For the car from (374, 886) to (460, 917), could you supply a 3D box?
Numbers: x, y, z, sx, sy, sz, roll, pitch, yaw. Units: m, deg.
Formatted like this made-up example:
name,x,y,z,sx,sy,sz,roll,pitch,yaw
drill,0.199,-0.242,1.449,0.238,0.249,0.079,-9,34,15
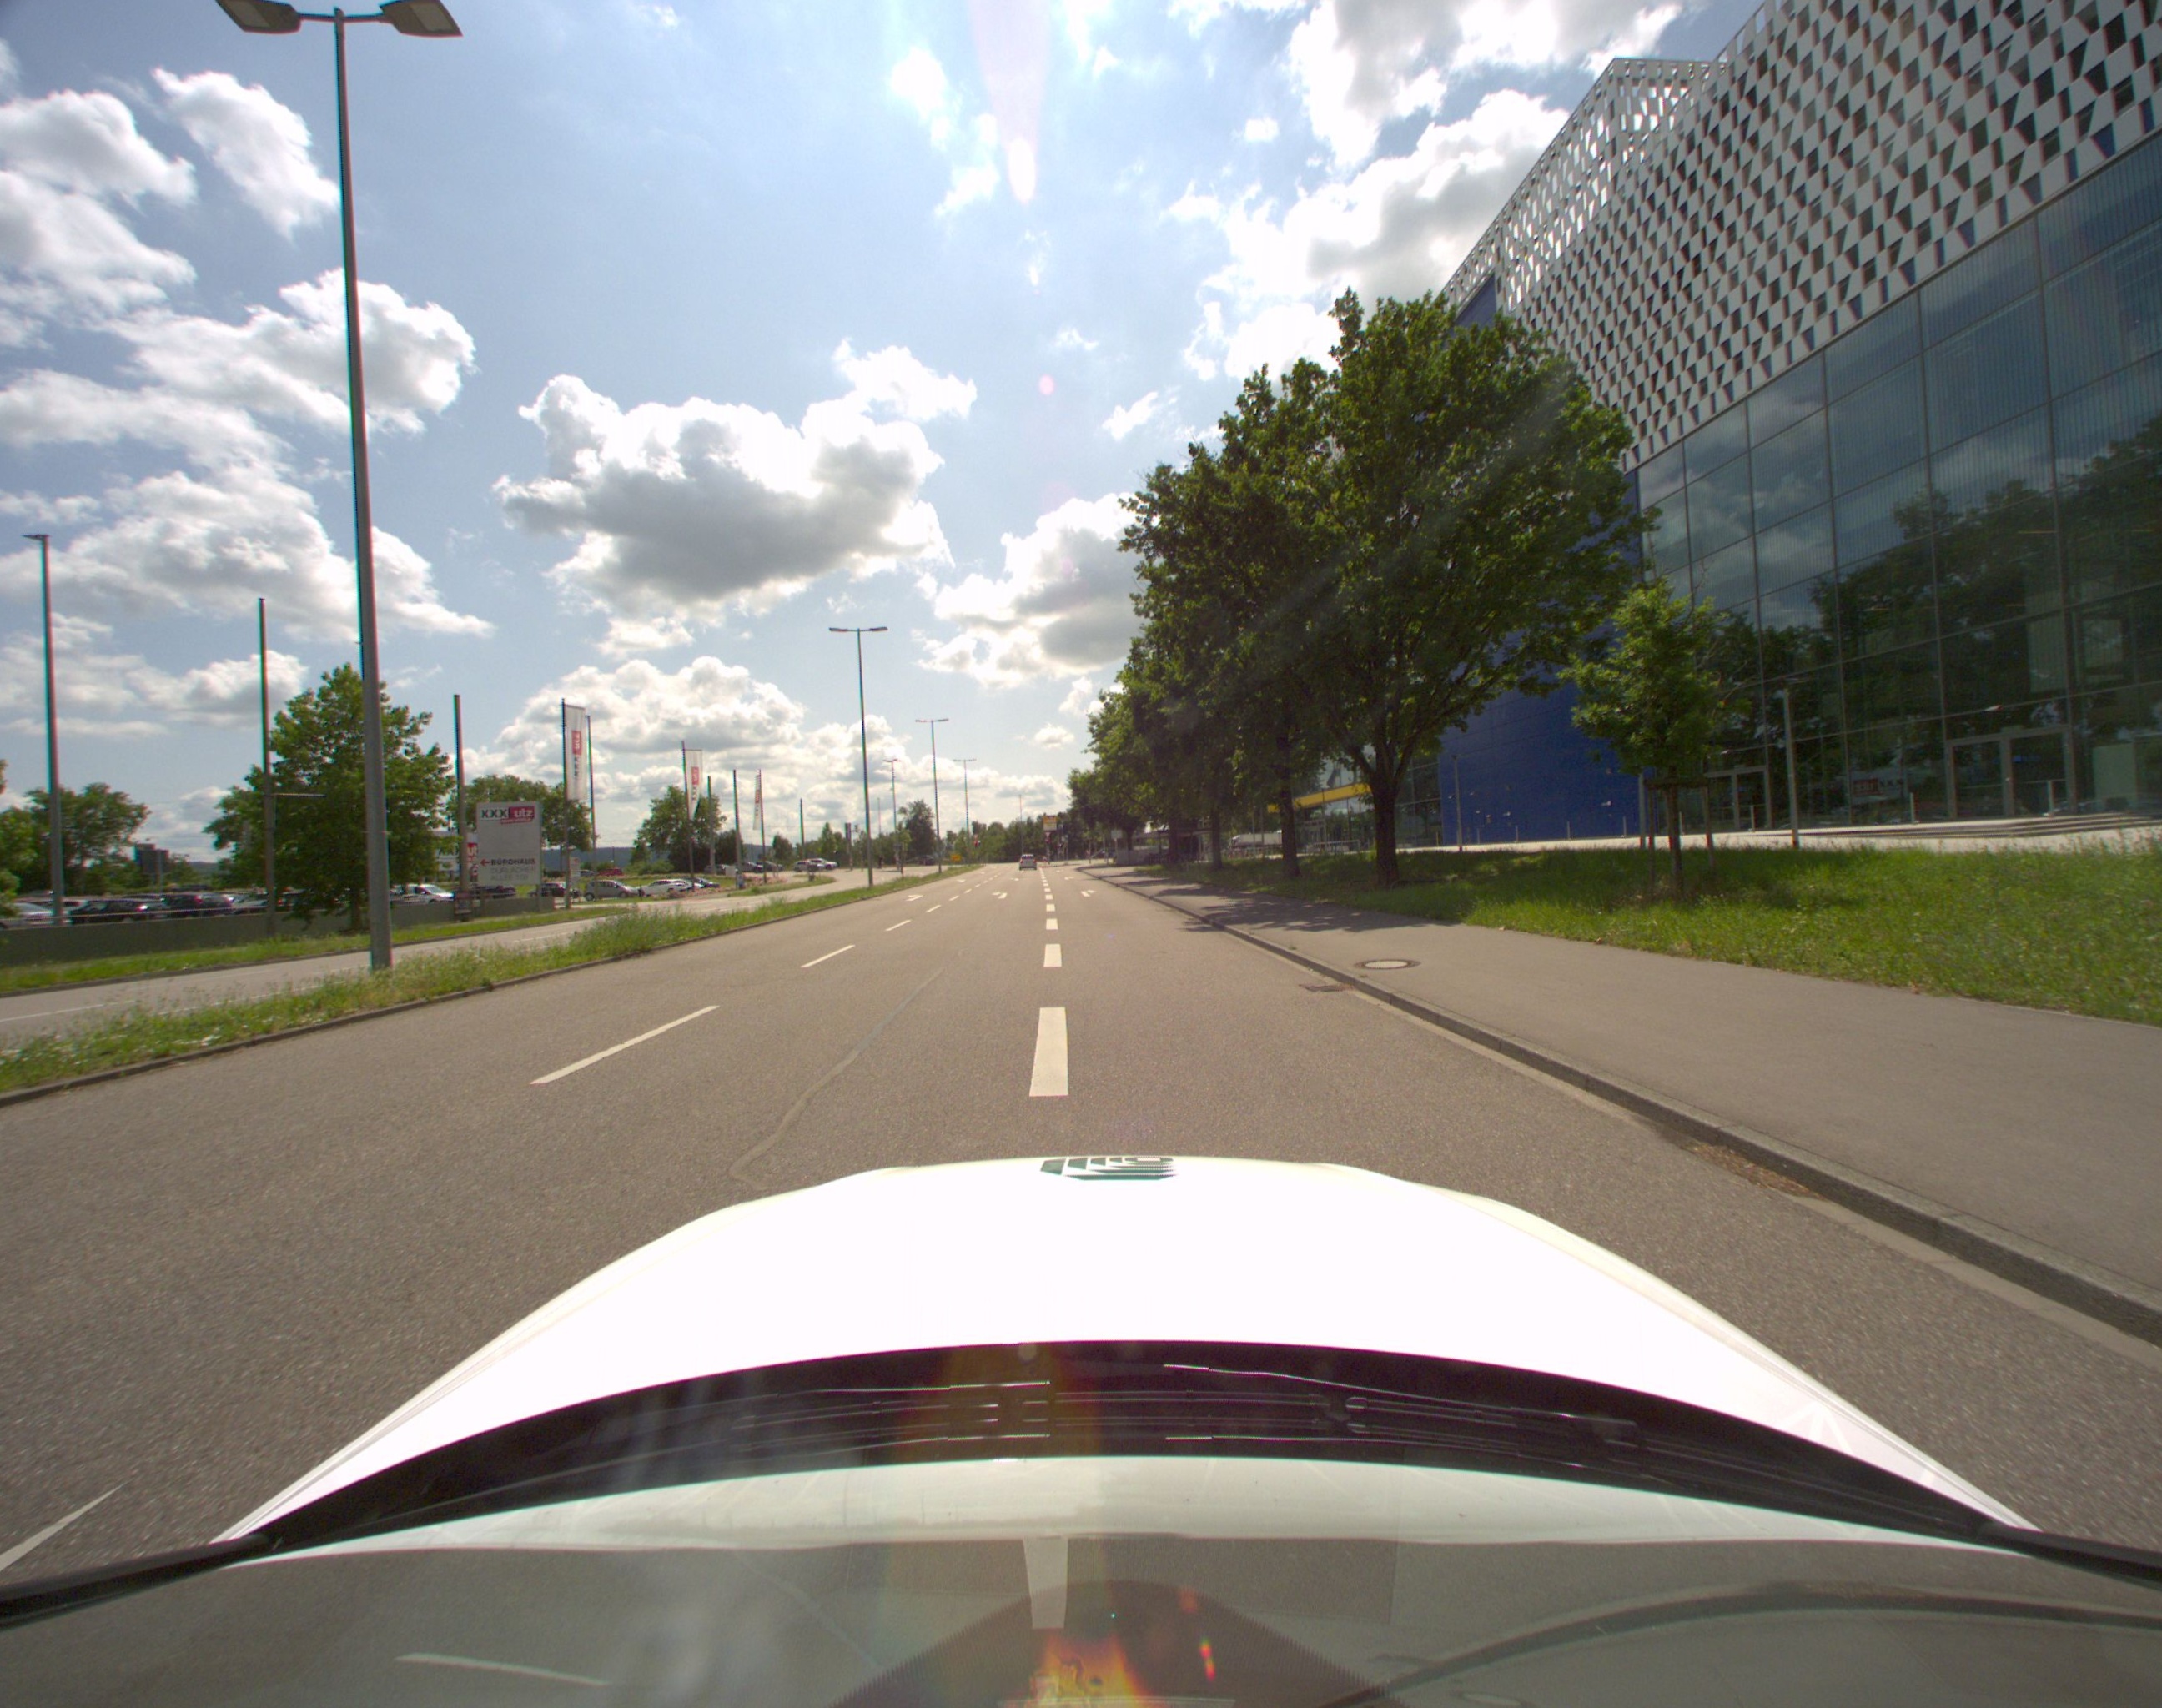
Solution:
name,x,y,z,sx,sy,sz,roll,pitch,yaw
car,-48.073,3.440,59.009,4.341,1.839,1.997,-3,0,-4

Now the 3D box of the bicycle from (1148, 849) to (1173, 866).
name,x,y,z,sx,sy,sz,roll,pitch,yaw
bicycle,6.249,0.286,64.002,1.891,1.170,0.423,-4,0,-2

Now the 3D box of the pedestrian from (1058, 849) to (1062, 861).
name,x,y,z,sx,sy,sz,roll,pitch,yaw
pedestrian,-3.338,0.174,128.004,0.609,1.769,0.672,-3,0,-2

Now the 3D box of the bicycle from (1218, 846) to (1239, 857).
name,x,y,z,sx,sy,sz,roll,pitch,yaw
bicycle,13.989,-0.222,77.191,1.860,0.994,0.463,-3,0,-8

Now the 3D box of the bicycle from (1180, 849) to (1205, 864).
name,x,y,z,sx,sy,sz,roll,pitch,yaw
bicycle,8.832,0.197,64.353,1.861,0.994,0.422,-5,-1,-8

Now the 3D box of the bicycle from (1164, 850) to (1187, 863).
name,x,y,z,sx,sy,sz,roll,pitch,yaw
bicycle,8.135,0.212,70.204,1.857,1.034,0.423,-4,0,-2

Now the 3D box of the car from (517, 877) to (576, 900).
name,x,y,z,sx,sy,sz,roll,pitch,yaw
car,-53.295,3.430,81.226,4.341,1.989,1.997,-3,0,-4

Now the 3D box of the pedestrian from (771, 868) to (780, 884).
name,x,y,z,sx,sy,sz,roll,pitch,yaw
pedestrian,-34.949,2.532,93.213,0.870,1.837,0.790,0,-1,-32

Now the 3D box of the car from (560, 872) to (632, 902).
name,x,y,z,sx,sy,sz,roll,pitch,yaw
car,-38.534,2.602,64.785,4.341,1.989,1.997,-3,0,-4

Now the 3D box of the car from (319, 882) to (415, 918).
name,x,y,z,sx,sy,sz,roll,pitch,yaw
car,-46.897,3.013,53.557,4.341,1.989,1.997,-3,0,-4

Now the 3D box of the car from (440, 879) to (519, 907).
name,x,y,z,sx,sy,sz,roll,pitch,yaw
car,-47.538,3.054,64.459,4.573,1.989,1.997,-2,-1,-4

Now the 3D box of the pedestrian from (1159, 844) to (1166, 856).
name,x,y,z,sx,sy,sz,roll,pitch,yaw
pedestrian,12.809,-0.639,128.509,0.925,1.807,0.735,-3,0,-4

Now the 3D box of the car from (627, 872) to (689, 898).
name,x,y,z,sx,sy,sz,roll,pitch,yaw
car,-37.533,2.706,72.377,4.341,1.989,1.997,-3,0,-4

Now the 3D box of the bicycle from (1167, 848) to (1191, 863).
name,x,y,z,sx,sy,sz,roll,pitch,yaw
bicycle,8.236,0.158,68.295,1.861,1.116,0.422,-4,-1,-9

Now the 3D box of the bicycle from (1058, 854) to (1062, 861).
name,x,y,z,sx,sy,sz,roll,pitch,yaw
bicycle,-3.325,0.525,128.038,0.617,1.087,1.721,-3,0,-1

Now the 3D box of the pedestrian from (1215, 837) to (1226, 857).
name,x,y,z,sx,sy,sz,roll,pitch,yaw
pedestrian,14.964,-0.737,87.400,1.001,2.072,0.977,-3,-1,11

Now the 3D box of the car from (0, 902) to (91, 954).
name,x,y,z,sx,sy,sz,roll,pitch,yaw
car,-45.997,3.246,34.883,4.341,1.989,1.997,-3,0,-4

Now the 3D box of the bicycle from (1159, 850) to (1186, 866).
name,x,y,z,sx,sy,sz,roll,pitch,yaw
bicycle,6.800,0.304,60.597,1.861,0.994,0.422,-5,0,-8

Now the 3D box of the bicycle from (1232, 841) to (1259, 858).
name,x,y,z,sx,sy,sz,roll,pitch,yaw
bicycle,14.145,-0.392,70.182,2.129,1.229,0.722,-4,0,6

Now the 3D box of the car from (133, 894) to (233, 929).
name,x,y,z,sx,sy,sz,roll,pitch,yaw
car,-61.754,3.910,56.063,4.341,1.989,1.997,-3,0,-4

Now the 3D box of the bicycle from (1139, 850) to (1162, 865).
name,x,y,z,sx,sy,sz,roll,pitch,yaw
bicycle,6.068,0.297,71.157,1.861,1.187,0.422,-4,0,-8

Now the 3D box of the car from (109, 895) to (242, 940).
name,x,y,z,sx,sy,sz,roll,pitch,yaw
car,-46.618,3.247,42.001,4.340,1.989,1.997,-2,0,-4

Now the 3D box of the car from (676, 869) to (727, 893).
name,x,y,z,sx,sy,sz,roll,pitch,yaw
car,-35.840,2.539,77.011,3.993,2.013,1.990,-3,0,-14

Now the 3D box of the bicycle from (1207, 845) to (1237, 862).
name,x,y,z,sx,sy,sz,roll,pitch,yaw
bicycle,10.292,-0.039,59.397,1.988,1.108,0.581,-5,-1,34

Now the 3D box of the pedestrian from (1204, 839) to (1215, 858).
name,x,y,z,sx,sy,sz,roll,pitch,yaw
pedestrian,13.714,-0.572,87.077,1.001,1.902,0.977,-3,-2,10

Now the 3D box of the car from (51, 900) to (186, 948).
name,x,y,z,sx,sy,sz,roll,pitch,yaw
car,-46.680,3.371,39.569,4.064,1.989,1.840,-2,-1,-5

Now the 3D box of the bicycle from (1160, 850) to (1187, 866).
name,x,y,z,sx,sy,sz,roll,pitch,yaw
bicycle,6.858,0.298,60.111,1.861,0.994,0.422,-5,0,-8

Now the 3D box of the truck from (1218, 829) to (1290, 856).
name,x,y,z,sx,sy,sz,roll,pitch,yaw
truck,30.509,-2.024,143.819,11.932,4.104,2.949,-3,0,-4

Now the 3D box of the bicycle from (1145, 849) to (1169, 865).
name,x,y,z,sx,sy,sz,roll,pitch,yaw
bicycle,6.201,0.262,66.229,1.861,1.187,0.422,-4,0,-8

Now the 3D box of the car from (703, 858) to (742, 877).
name,x,y,z,sx,sy,sz,roll,pitch,yaw
car,-44.299,1.671,100.642,3.959,2.013,2.007,-4,0,13

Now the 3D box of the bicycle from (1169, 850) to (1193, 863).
name,x,y,z,sx,sy,sz,roll,pitch,yaw
bicycle,8.327,0.207,67.651,1.861,0.995,0.422,-4,-2,-8

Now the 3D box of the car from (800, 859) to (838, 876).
name,x,y,z,sx,sy,sz,roll,pitch,yaw
car,-35.414,1.821,110.084,4.341,1.989,1.997,-3,0,-4

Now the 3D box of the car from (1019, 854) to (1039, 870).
name,x,y,z,sx,sy,sz,roll,pitch,yaw
car,-5.125,0.793,80.985,1.890,1.470,3.829,-1,0,-3

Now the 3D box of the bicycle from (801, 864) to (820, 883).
name,x,y,z,sx,sy,sz,roll,pitch,yaw
bicycle,-24.995,1.764,75.341,1.015,1.675,2.046,-4,0,-3

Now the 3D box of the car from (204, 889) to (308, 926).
name,x,y,z,sx,sy,sz,roll,pitch,yaw
car,-52.186,3.377,51.573,4.341,1.989,1.997,-3,-2,-4

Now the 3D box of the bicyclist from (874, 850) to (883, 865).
name,x,y,z,sx,sy,sz,roll,pitch,yaw
bicyclist,-25.922,0.427,104.095,0.919,1.846,0.610,-2,0,-4

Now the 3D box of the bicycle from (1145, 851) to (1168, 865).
name,x,y,z,sx,sy,sz,roll,pitch,yaw
bicycle,6.269,0.355,67.681,1.861,0.994,0.422,-4,0,-8

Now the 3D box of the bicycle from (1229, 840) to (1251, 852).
name,x,y,z,sx,sy,sz,roll,pitch,yaw
bicycle,14.719,-0.736,75.299,1.861,0.994,0.422,-5,-1,-8

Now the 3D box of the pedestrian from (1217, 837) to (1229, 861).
name,x,y,z,sx,sy,sz,roll,pitch,yaw
pedestrian,10.423,-0.383,59.842,0.626,1.721,0.528,-5,-2,32

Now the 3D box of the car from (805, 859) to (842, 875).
name,x,y,z,sx,sy,sz,roll,pitch,yaw
car,-35.705,1.800,112.939,4.341,1.989,1.997,-3,0,-4

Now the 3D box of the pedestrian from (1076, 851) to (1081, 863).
name,x,y,z,sx,sy,sz,roll,pitch,yaw
pedestrian,-0.383,0.477,123.231,0.521,1.721,0.730,-4,0,0

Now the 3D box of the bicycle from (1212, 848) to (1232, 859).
name,x,y,z,sx,sy,sz,roll,pitch,yaw
bicycle,13.776,-0.070,79.688,1.857,0.994,0.423,-4,0,-2

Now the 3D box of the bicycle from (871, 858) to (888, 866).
name,x,y,z,sx,sy,sz,roll,pitch,yaw
bicycle,-25.746,1.004,104.117,2.013,0.999,0.621,0,-1,-4
